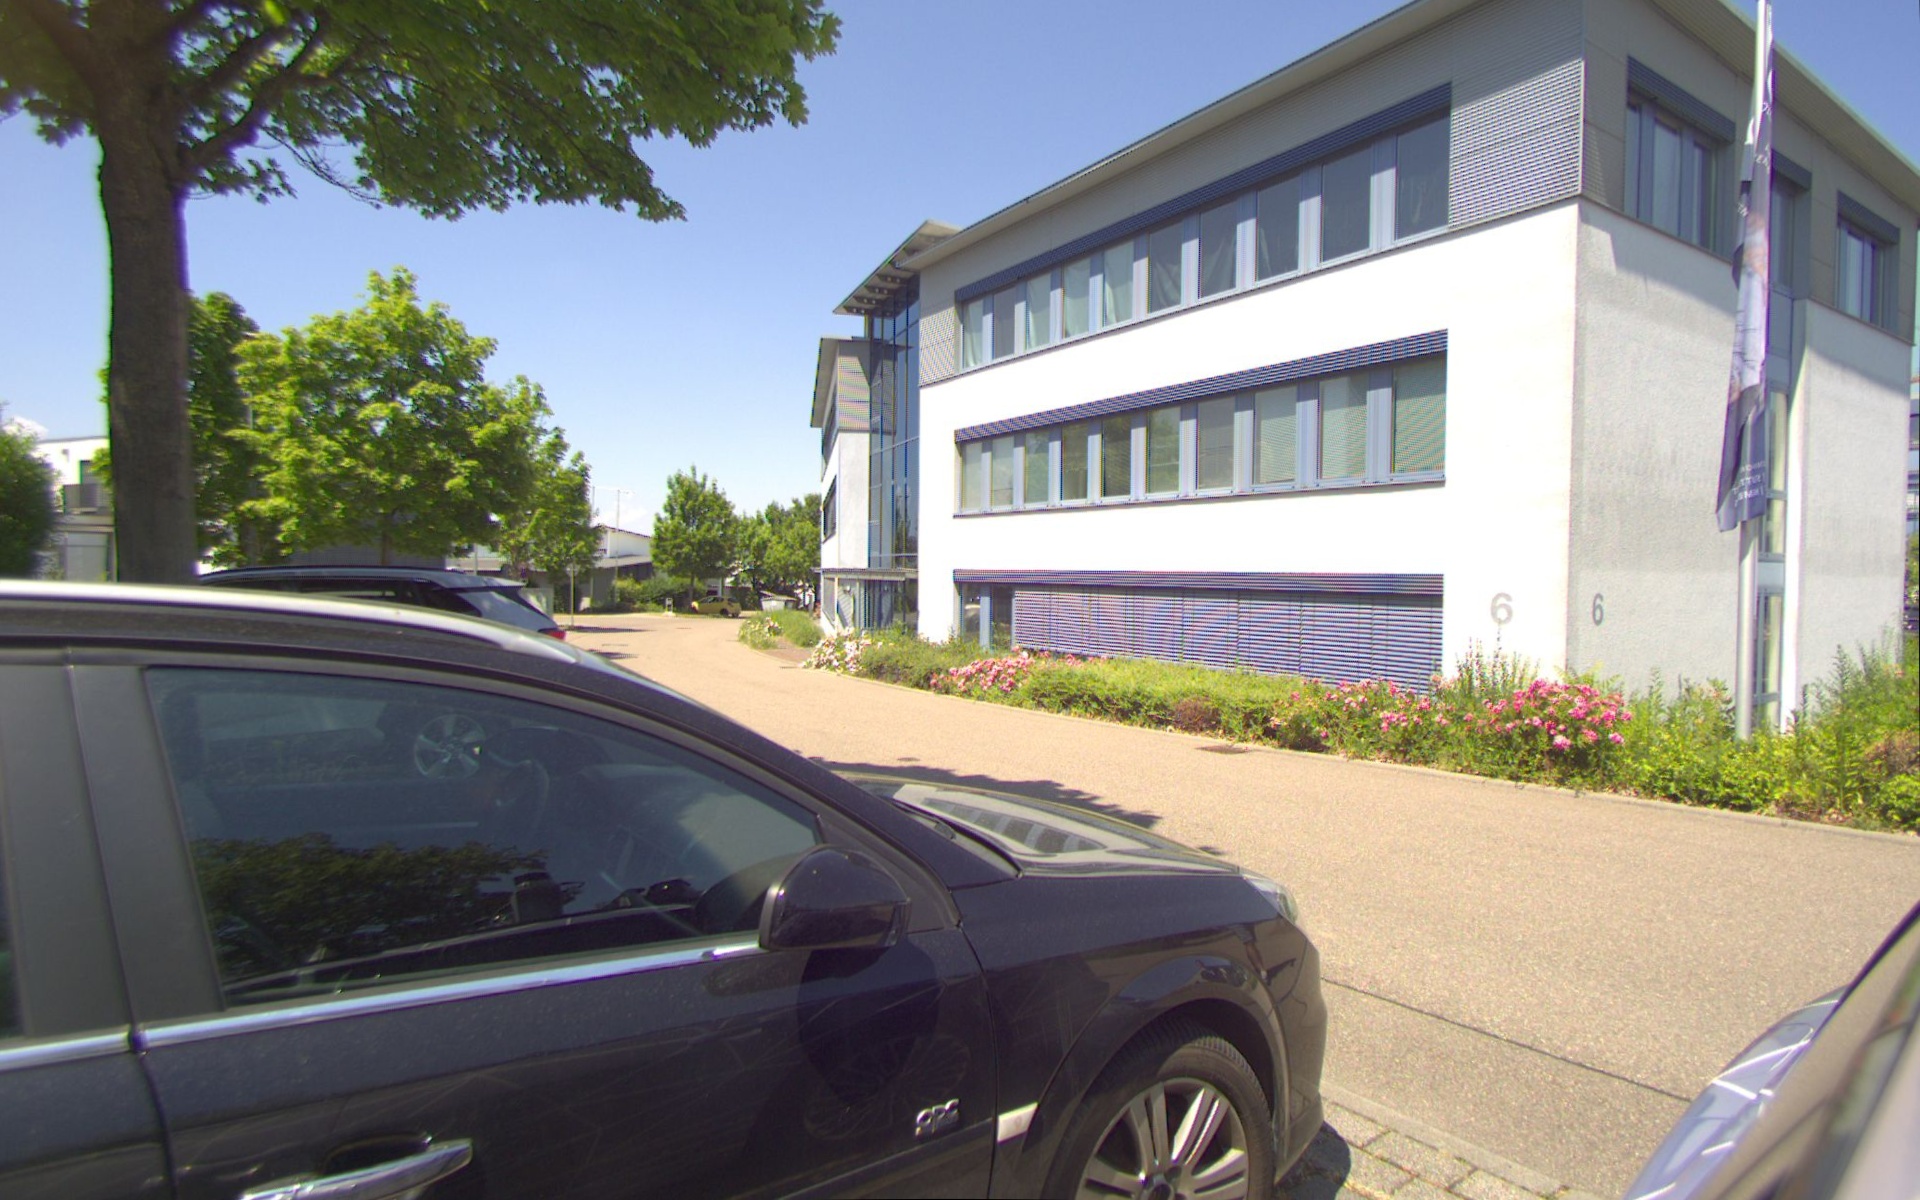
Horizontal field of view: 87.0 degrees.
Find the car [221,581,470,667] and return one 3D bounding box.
[{"bbox_3d":[-12.387,0.491,20.712,4.090,1.625,1.664,1,-1,-21],"label":"car"}]

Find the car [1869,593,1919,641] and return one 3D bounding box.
[{"bbox_3d":[32.715,0.546,34.533,3.925,1.565,1.788,-1,1,-36],"label":"car"}]

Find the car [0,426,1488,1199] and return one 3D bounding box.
[{"bbox_3d":[-1.011,0.624,1.859,4.480,1.569,1.763,0,0,-37],"label":"car"}]

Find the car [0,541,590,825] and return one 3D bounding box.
[{"bbox_3d":[-5.145,0.502,7.383,4.249,1.664,1.857,1,-1,-35],"label":"car"}]

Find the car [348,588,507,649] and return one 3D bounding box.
[{"bbox_3d":[-14.212,0.488,27.199,3.514,1.545,1.639,1,-1,-17],"label":"car"}]

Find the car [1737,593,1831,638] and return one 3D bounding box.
[{"bbox_3d":[30.610,0.523,37.561,3.925,1.565,1.788,-1,1,-36],"label":"car"}]

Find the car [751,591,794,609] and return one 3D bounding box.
[{"bbox_3d":[-15.254,0.007,82.366,3.172,1.460,1.580,0,0,18],"label":"car"}]

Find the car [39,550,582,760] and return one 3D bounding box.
[{"bbox_3d":[-6.050,0.466,9.889,4.122,1.664,1.661,1,-1,-35],"label":"car"}]

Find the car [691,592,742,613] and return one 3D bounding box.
[{"bbox_3d":[-17.120,0.176,71.168,3.172,1.460,1.580,0,0,18],"label":"car"}]

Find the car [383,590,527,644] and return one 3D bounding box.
[{"bbox_3d":[-14.655,0.493,29.549,3.514,1.461,1.639,1,-1,-17],"label":"car"}]

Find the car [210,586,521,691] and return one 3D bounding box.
[{"bbox_3d":[-9.335,0.586,16.243,4.092,1.505,1.663,1,-1,-27],"label":"car"}]
